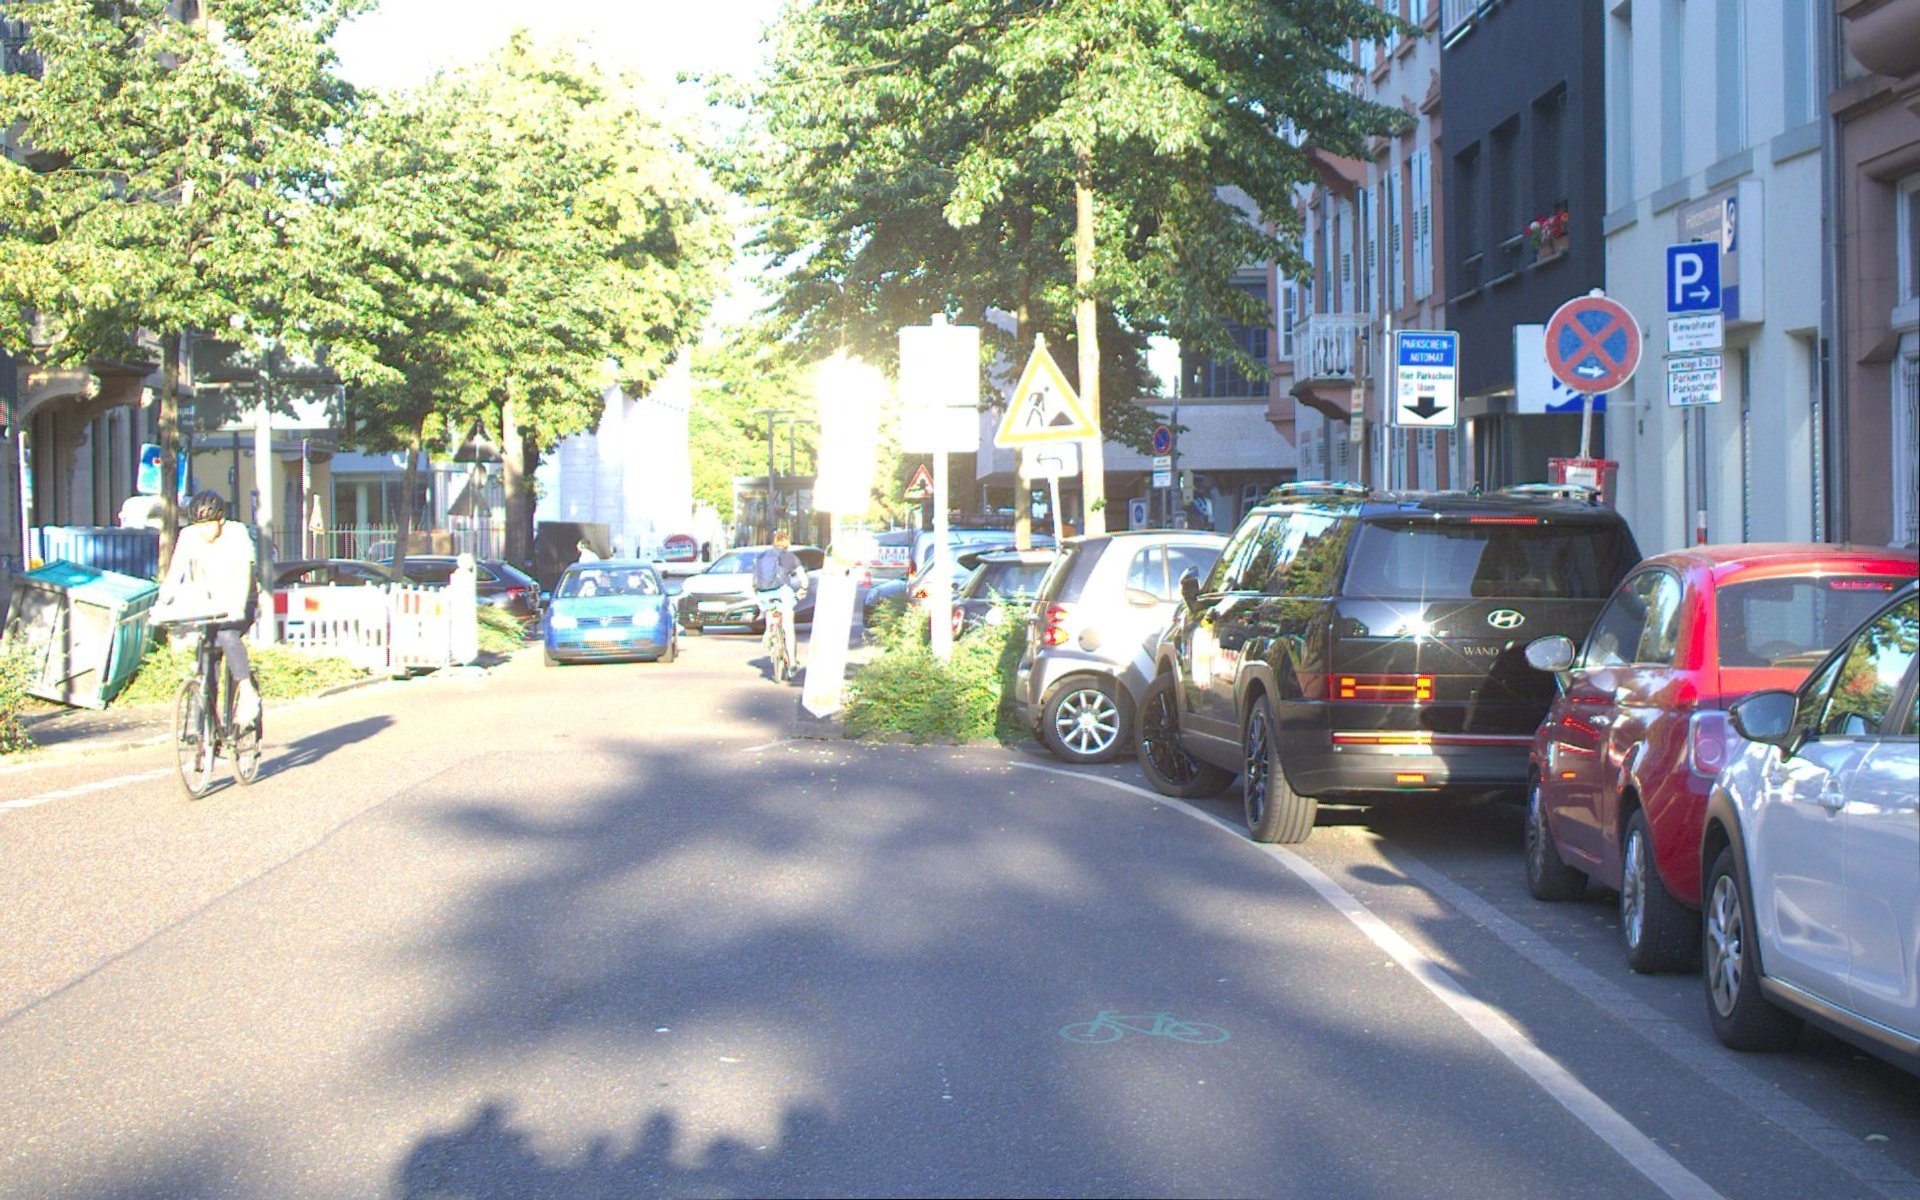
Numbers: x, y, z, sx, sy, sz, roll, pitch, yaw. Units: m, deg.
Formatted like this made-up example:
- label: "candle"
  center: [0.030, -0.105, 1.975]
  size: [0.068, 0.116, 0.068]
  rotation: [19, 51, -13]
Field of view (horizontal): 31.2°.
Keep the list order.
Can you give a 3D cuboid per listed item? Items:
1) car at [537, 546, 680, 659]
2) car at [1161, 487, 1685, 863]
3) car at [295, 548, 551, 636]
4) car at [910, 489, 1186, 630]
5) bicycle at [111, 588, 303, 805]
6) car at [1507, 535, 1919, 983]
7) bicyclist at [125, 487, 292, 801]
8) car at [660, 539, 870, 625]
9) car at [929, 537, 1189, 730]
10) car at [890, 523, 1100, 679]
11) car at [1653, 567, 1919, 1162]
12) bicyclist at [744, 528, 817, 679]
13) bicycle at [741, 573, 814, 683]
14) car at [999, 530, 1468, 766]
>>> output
- label: "car"
  center: [-4.827, -0.006, 47.507]
  size: [1.838, 1.436, 4.332]
  rotation: [-1, 1, -5]
- label: "car"
  center: [2.232, 0.318, 17.770]
  size: [1.824, 1.689, 4.369]
  rotation: [1, 1, -4]
- label: "car"
  center: [-9.231, -0.150, 59.347]
  size: [4.103, 1.460, 1.889]
  rotation: [1, 1, 1]
- label: "car"
  center: [1.334, -0.608, 51.010]
  size: [3.987, 2.007, 2.000]
  rotation: [-1, 1, 3]
- label: "bicycle"
  center: [-4.499, 0.548, 20.669]
  size: [0.780, 1.200, 2.021]
  rotation: [-2, 1, -3]
- label: "car"
  center: [3.118, 0.515, 13.067]
  size: [1.587, 1.478, 3.266]
  rotation: [1, 1, 1]
- label: "bicyclist"
  center: [-4.499, 0.252, 20.651]
  size: [0.780, 1.823, 1.007]
  rotation: [-2, 1, -3]
- label: "car"
  center: [-3.494, -0.333, 62.467]
  size: [1.887, 1.475, 4.453]
  rotation: [1, 1, 26]
- label: "car"
  center: [0.845, 0.270, 32.202]
  size: [1.993, 1.662, 4.510]
  rotation: [1, 1, -4]
- label: "car"
  center: [0.400, -0.011, 45.510]
  size: [2.265, 1.760, 4.510]
  rotation: [5, 0, -4]
- label: "car"
  center: [3.059, 0.612, 9.041]
  size: [1.666, 1.373, 3.803]
  rotation: [1, 1, 0]
- label: "bicyclist"
  center: [-2.064, 0.036, 39.512]
  size: [0.780, 1.690, 1.007]
  rotation: [-2, 1, -3]
- label: "bicycle"
  center: [-2.107, 0.308, 39.625]
  size: [0.780, 1.200, 2.021]
  rotation: [-2, 1, -3]
- label: "car"
  center: [1.816, 0.310, 23.351]
  size: [2.968, 1.531, 1.434]
  rotation: [1, 1, -5]
